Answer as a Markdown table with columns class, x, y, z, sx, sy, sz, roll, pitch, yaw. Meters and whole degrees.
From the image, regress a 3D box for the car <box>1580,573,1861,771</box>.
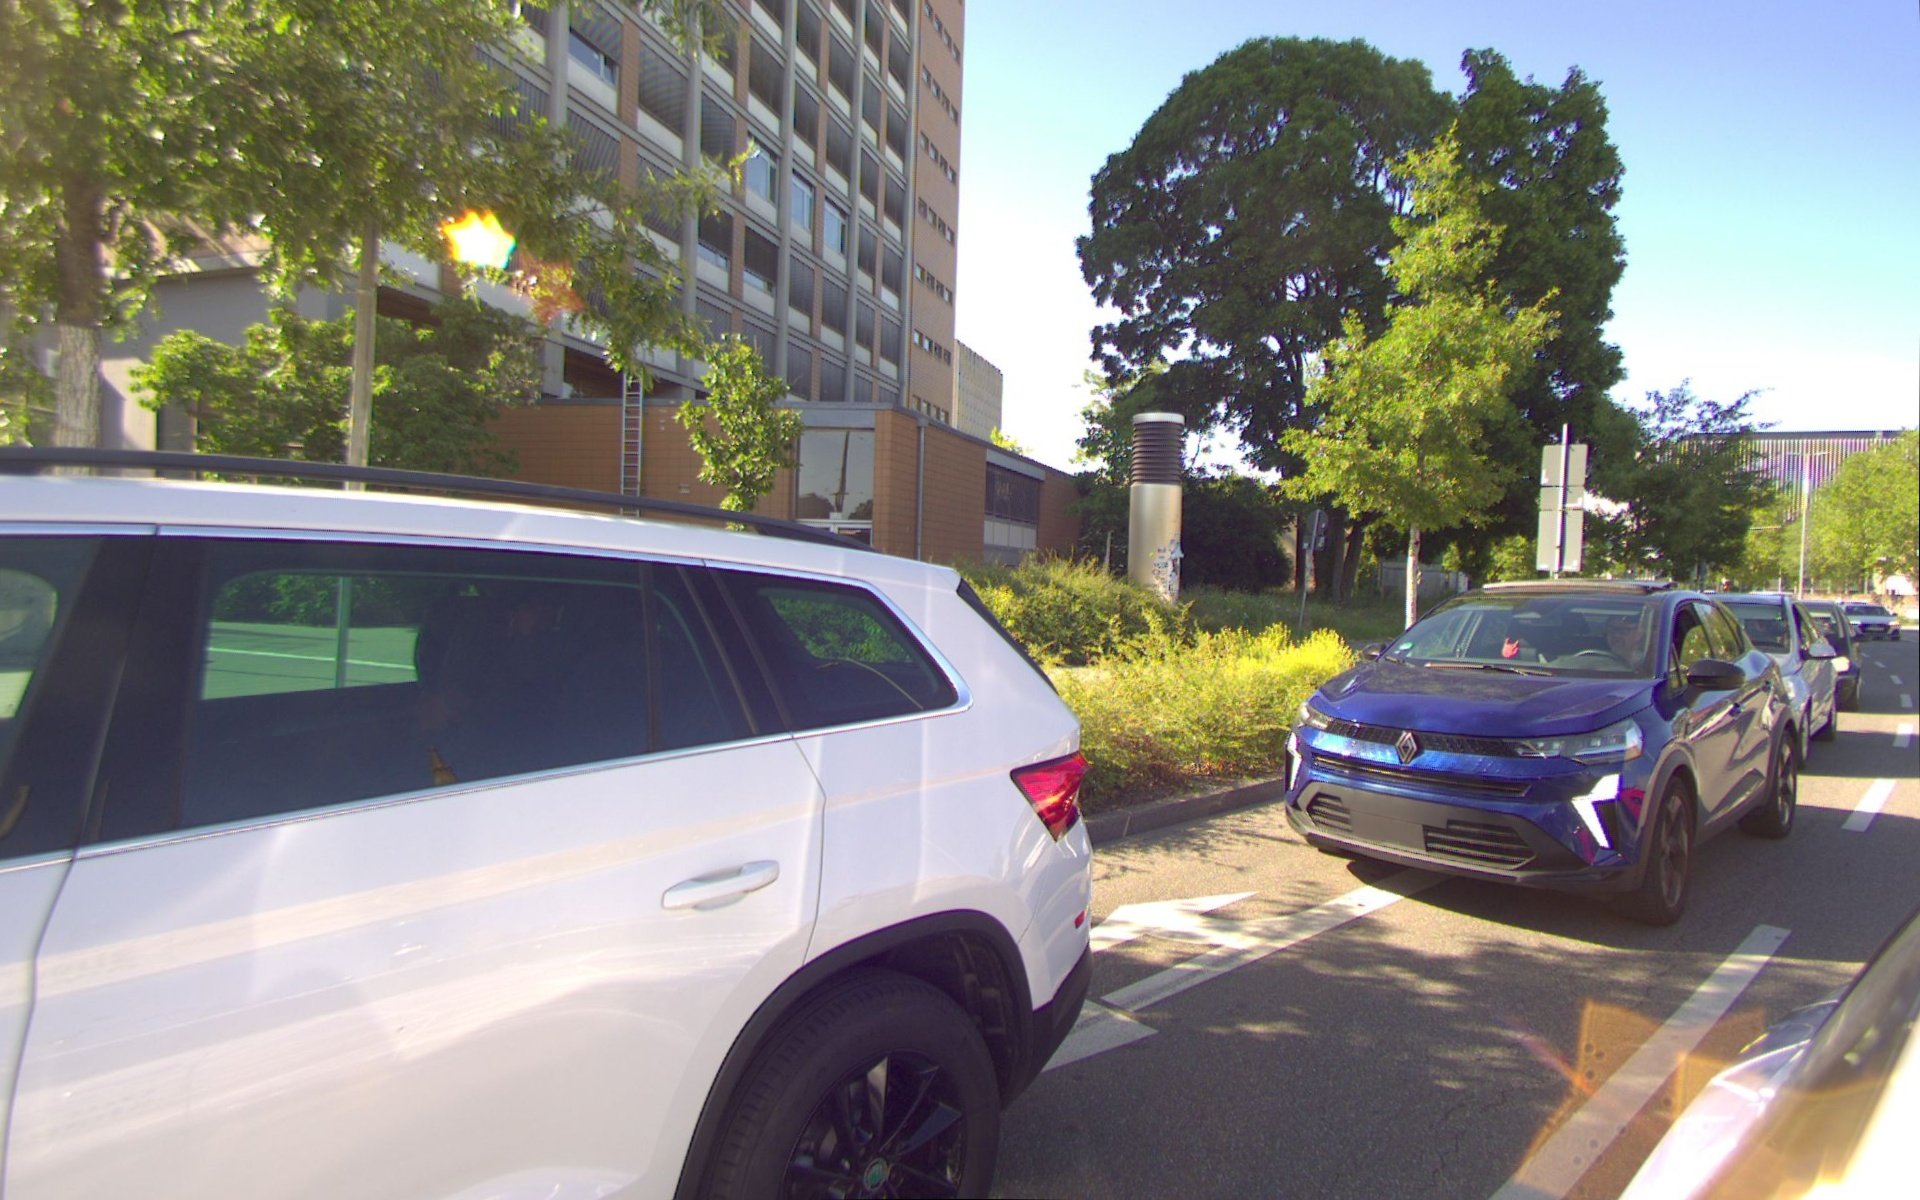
| class | x | y | z | sx | sy | sz | roll | pitch | yaw |
| --- | --- | --- | --- | --- | --- | --- | --- | --- | --- |
| car | 8.098 | 0.599 | 10.641 | 3.977 | 1.645 | 1.782 | 0 | 2 | -45 |

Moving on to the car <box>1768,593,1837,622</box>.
| class | x | y | z | sx | sy | sz | roll | pitch | yaw |
| --- | --- | --- | --- | --- | --- | --- | --- | --- | --- |
| car | 45.444 | 0.366 | 54.681 | 1.862 | 1.500 | 3.967 | 1 | 1 | 24 |

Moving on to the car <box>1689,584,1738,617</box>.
| class | x | y | z | sx | sy | sz | roll | pitch | yaw |
| --- | --- | --- | --- | --- | --- | --- | --- | --- | --- |
| car | 45.242 | -0.005 | 60.833 | 1.813 | 1.876 | 3.713 | 2 | 1 | 30 |

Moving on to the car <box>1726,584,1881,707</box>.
| class | x | y | z | sx | sy | sz | roll | pitch | yaw |
| --- | --- | --- | --- | --- | --- | --- | --- | --- | --- |
| car | 13.111 | 0.610 | 15.673 | 1.646 | 1.631 | 3.435 | 3 | 2 | 43 |

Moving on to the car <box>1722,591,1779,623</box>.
| class | x | y | z | sx | sy | sz | roll | pitch | yaw |
| --- | --- | --- | --- | --- | --- | --- | --- | --- | --- |
| car | 38.395 | 0.323 | 49.214 | 1.739 | 1.494 | 3.535 | 0 | 1 | 31 |

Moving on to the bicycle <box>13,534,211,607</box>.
| class | x | y | z | sx | sy | sz | roll | pitch | yaw |
| --- | --- | --- | --- | --- | --- | --- | --- | --- | --- |
| bicycle | -17.450 | -0.590 | 20.967 | 0.790 | 1.394 | 3.111 | 2 | 1 | 26 |

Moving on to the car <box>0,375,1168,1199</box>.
| class | x | y | z | sx | sy | sz | roll | pitch | yaw |
| --- | --- | --- | --- | --- | --- | --- | --- | --- | --- |
| car | -1.639 | 0.566 | 1.659 | 4.223 | 1.662 | 1.697 | 0 | 2 | -42 |

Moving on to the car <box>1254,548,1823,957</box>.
| class | x | y | z | sx | sy | sz | roll | pitch | yaw |
| --- | --- | --- | --- | --- | --- | --- | --- | --- | --- |
| car | 3.617 | 0.594 | 5.998 | 4.013 | 1.626 | 1.704 | 0 | 1 | -41 |

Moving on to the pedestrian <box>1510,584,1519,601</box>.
| class | x | y | z | sx | sy | sz | roll | pitch | yaw |
| --- | --- | --- | --- | --- | --- | --- | --- | --- | --- |
| pedestrian | 61.827 | -0.850 | 112.908 | 0.812 | 1.941 | 0.766 | 0 | 0 | 23 |

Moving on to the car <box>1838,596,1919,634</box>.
| class | x | y | z | sx | sy | sz | roll | pitch | yaw |
| --- | --- | --- | --- | --- | --- | --- | --- | --- | --- |
| car | 36.441 | 0.554 | 40.228 | 1.739 | 1.396 | 3.534 | 1 | 1 | 32 |

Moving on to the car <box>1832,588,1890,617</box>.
| class | x | y | z | sx | sy | sz | roll | pitch | yaw |
| --- | --- | --- | --- | --- | --- | --- | --- | --- | --- |
| car | 52.621 | 0.126 | 59.156 | 1.578 | 1.625 | 3.049 | 2 | 1 | 22 |

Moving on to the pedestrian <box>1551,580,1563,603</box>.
| class | x | y | z | sx | sy | sz | roll | pitch | yaw |
| --- | --- | --- | --- | --- | --- | --- | --- | --- | --- |
| pedestrian | 50.592 | -0.685 | 85.742 | 0.813 | 1.941 | 0.765 | 0 | 0 | 25 |

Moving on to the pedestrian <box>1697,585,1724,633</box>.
| class | x | y | z | sx | sy | sz | roll | pitch | yaw |
| --- | --- | --- | --- | --- | --- | --- | --- | --- | --- |
| pedestrian | 26.248 | 0.301 | 35.407 | 0.657 | 1.624 | 0.684 | 2 | 1 | 34 |

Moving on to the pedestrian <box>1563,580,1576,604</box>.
| class | x | y | z | sx | sy | sz | roll | pitch | yaw |
| --- | --- | --- | --- | --- | --- | --- | --- | --- | --- |
| pedestrian | 51.277 | -0.679 | 85.134 | 0.813 | 1.941 | 0.765 | 0 | 0 | 25 |

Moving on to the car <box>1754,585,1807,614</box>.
| class | x | y | z | sx | sy | sz | roll | pitch | yaw |
| --- | --- | --- | --- | --- | --- | --- | --- | --- | --- |
| car | 59.458 | -0.073 | 73.417 | 1.767 | 2.039 | 4.201 | 1 | 1 | 22 |

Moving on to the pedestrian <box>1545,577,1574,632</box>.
| class | x | y | z | sx | sy | sz | roll | pitch | yaw |
| --- | --- | --- | --- | --- | --- | --- | --- | --- | --- |
| pedestrian | 18.145 | 0.138 | 30.622 | 0.688 | 1.624 | 0.653 | 2 | 1 | 35 |
